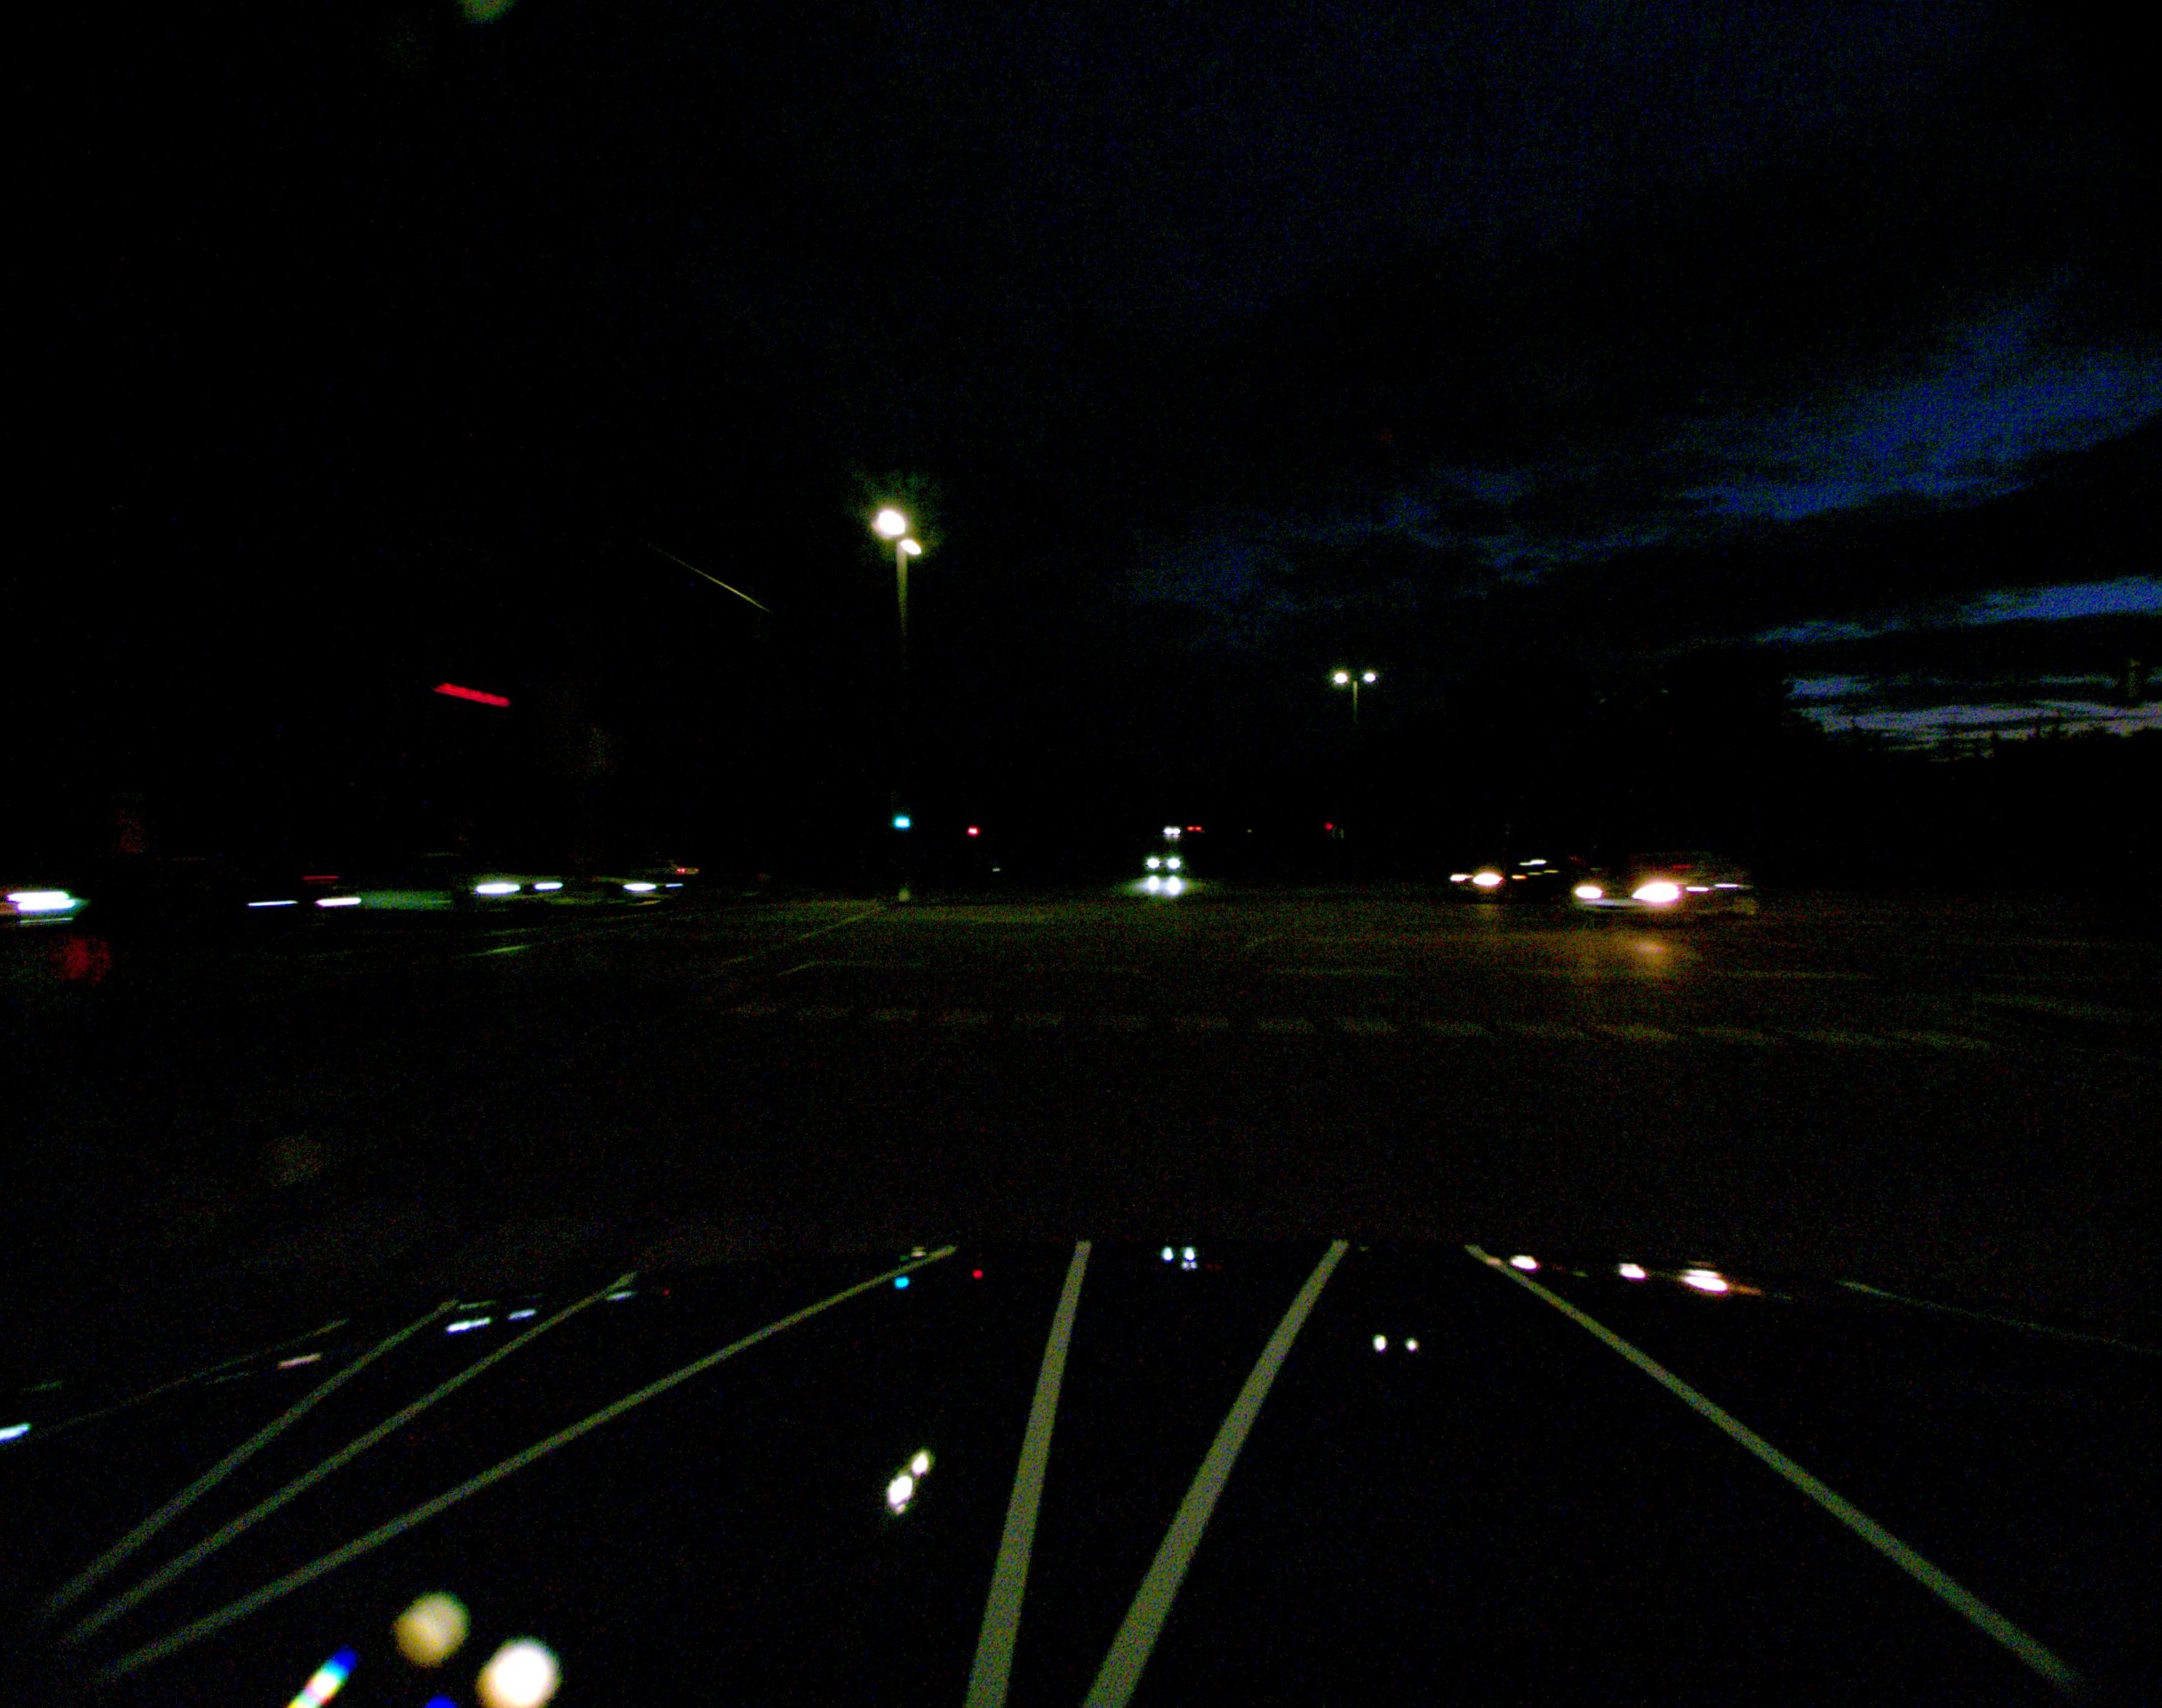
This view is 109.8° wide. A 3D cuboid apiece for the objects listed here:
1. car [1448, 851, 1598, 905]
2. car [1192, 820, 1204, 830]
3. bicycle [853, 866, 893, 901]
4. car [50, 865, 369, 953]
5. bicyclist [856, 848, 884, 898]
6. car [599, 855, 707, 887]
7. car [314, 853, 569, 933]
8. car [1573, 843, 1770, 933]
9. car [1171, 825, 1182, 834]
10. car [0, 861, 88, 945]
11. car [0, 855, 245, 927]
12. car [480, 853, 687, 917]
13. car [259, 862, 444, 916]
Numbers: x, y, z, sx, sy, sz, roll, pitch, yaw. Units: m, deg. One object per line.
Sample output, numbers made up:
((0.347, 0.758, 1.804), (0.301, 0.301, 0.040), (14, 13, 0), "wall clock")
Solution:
((13.216, 0.681, 22.787), (3.778, 1.472, 1.669), (-1, 0, -14), "car")
((22.068, -5.482, 143.661), (1.739, 1.565, 4.057), (-2, 4, 3), "car")
((-7.026, 0.983, 25.727), (0.694, 1.095, 2.068), (-1, 0, 2), "bicycle")
((-15.745, 0.935, 13.822), (4.284, 1.437, 1.787), (0, 0, 9), "car")
((-7.092, 0.616, 25.542), (0.603, 1.641, 1.000), (-1, 1, 2), "bicyclist")
((-19.817, 0.786, 35.299), (4.114, 1.435, 1.624), (0, 1, 1), "car")
((-14.278, 0.815, 17.099), (4.413, 1.672, 1.916), (0, 0, 8), "car")
((12.305, 0.619, 15.773), (4.418, 1.643, 1.667), (-1, -1, -30), "car")
((17.829, -4.590, 141.537), (1.696, 1.586, 3.929), (-1, 0, 13), "car")
((-21.972, 0.929, 14.525), (3.994, 1.516, 1.838), (0, 1, 7), "car")
((-23.128, 0.840, 18.374), (4.356, 1.617, 1.752), (0, 1, 8), "car")
((-13.461, 0.805, 20.699), (4.579, 1.623, 1.859), (0, 1, 8), "car")
((-20.776, 0.973, 21.725), (3.904, 1.472, 1.780), (0, 0, 8), "car")
